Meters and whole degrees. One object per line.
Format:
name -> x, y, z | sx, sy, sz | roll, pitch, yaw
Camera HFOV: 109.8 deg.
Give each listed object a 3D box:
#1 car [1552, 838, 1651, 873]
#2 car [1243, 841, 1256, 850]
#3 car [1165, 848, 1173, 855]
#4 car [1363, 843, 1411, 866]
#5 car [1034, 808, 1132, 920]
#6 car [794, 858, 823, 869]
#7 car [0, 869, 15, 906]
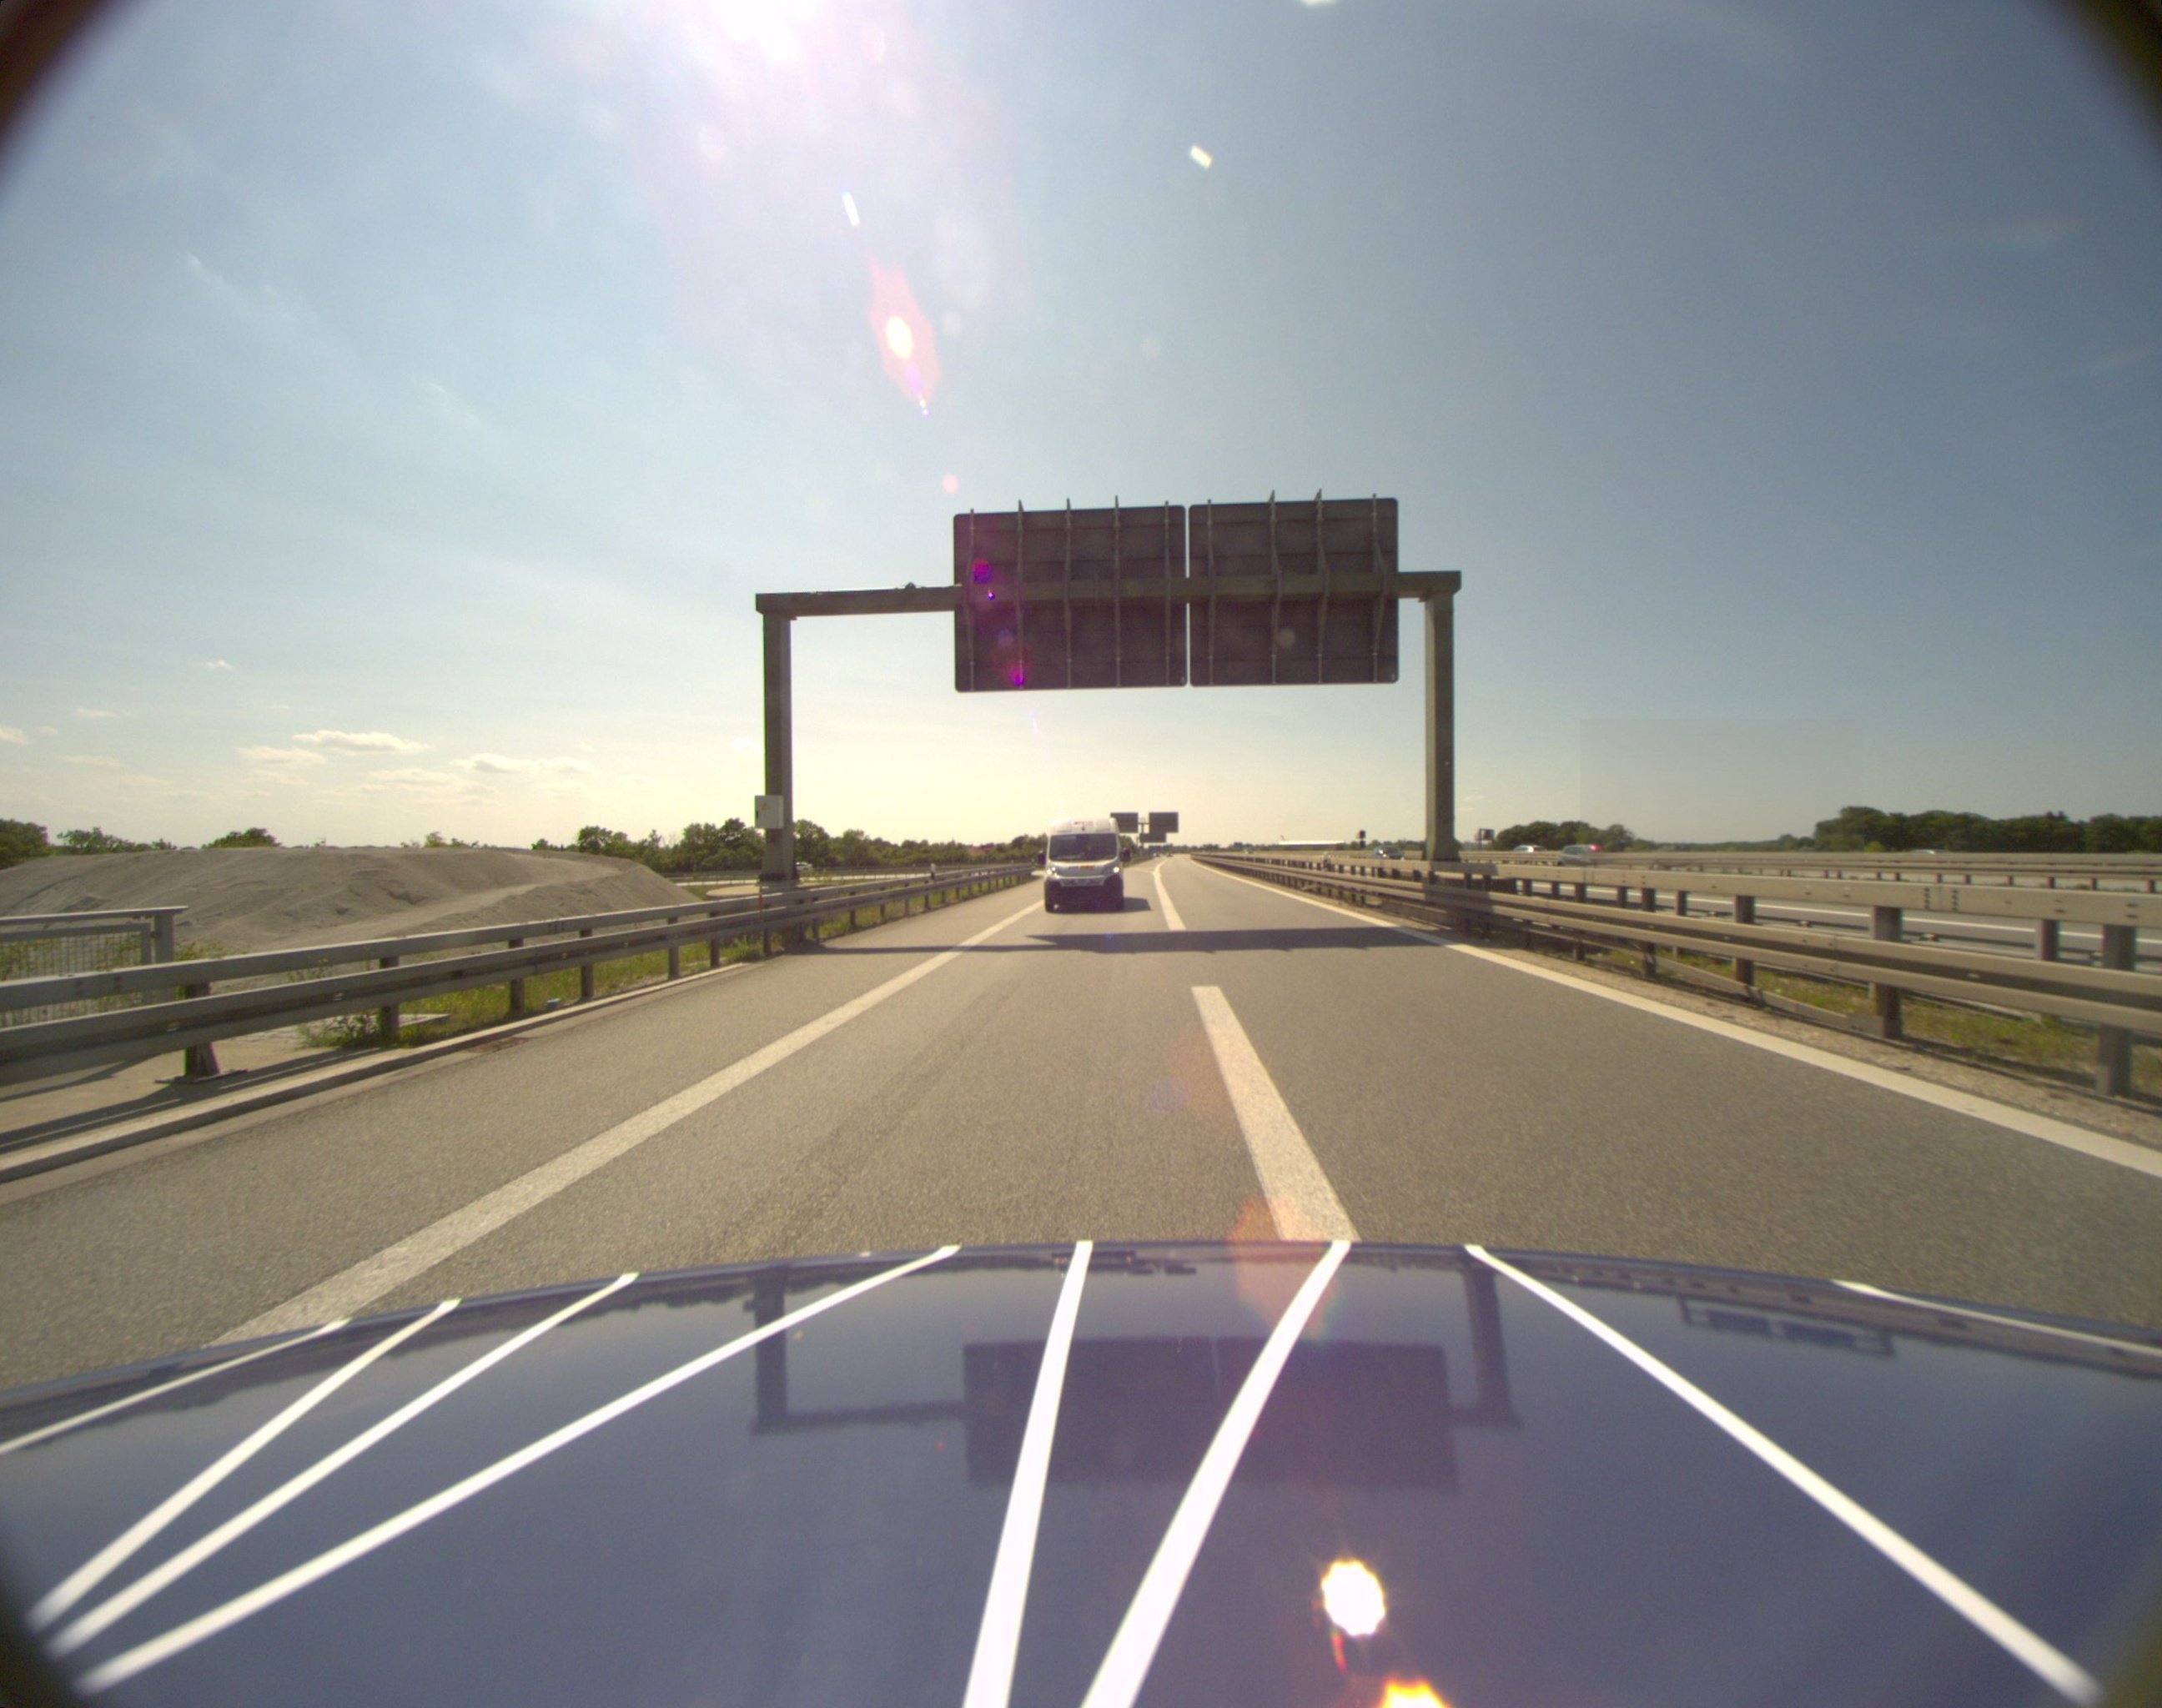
car -> 22.999, 0.035, 33.791 | 1.766, 1.414, 4.217 | -1, 1, 5
car -> 31.532, -1.597, 142.404 | 1.842, 1.509, 4.576 | -1, 1, 5
car -> 24.436, -0.758, 210.990 | 1.997, 1.744, 4.001 | -1, 1, 6
car -> 20.740, -0.018, 51.713 | 1.833, 1.424, 4.217 | -2, 1, 4
car -> 0.252, 0.202, 20.335 | 2.086, 2.509, 6.238 | -1, 1, 5
car -> -45.441, 1.591, 126.763 | 4.301, 1.499, 1.997 | -3, 1, -16
car -> -110.207, 3.582, 73.877 | 1.997, 3.609, 7.083 | -5, 2, 14
